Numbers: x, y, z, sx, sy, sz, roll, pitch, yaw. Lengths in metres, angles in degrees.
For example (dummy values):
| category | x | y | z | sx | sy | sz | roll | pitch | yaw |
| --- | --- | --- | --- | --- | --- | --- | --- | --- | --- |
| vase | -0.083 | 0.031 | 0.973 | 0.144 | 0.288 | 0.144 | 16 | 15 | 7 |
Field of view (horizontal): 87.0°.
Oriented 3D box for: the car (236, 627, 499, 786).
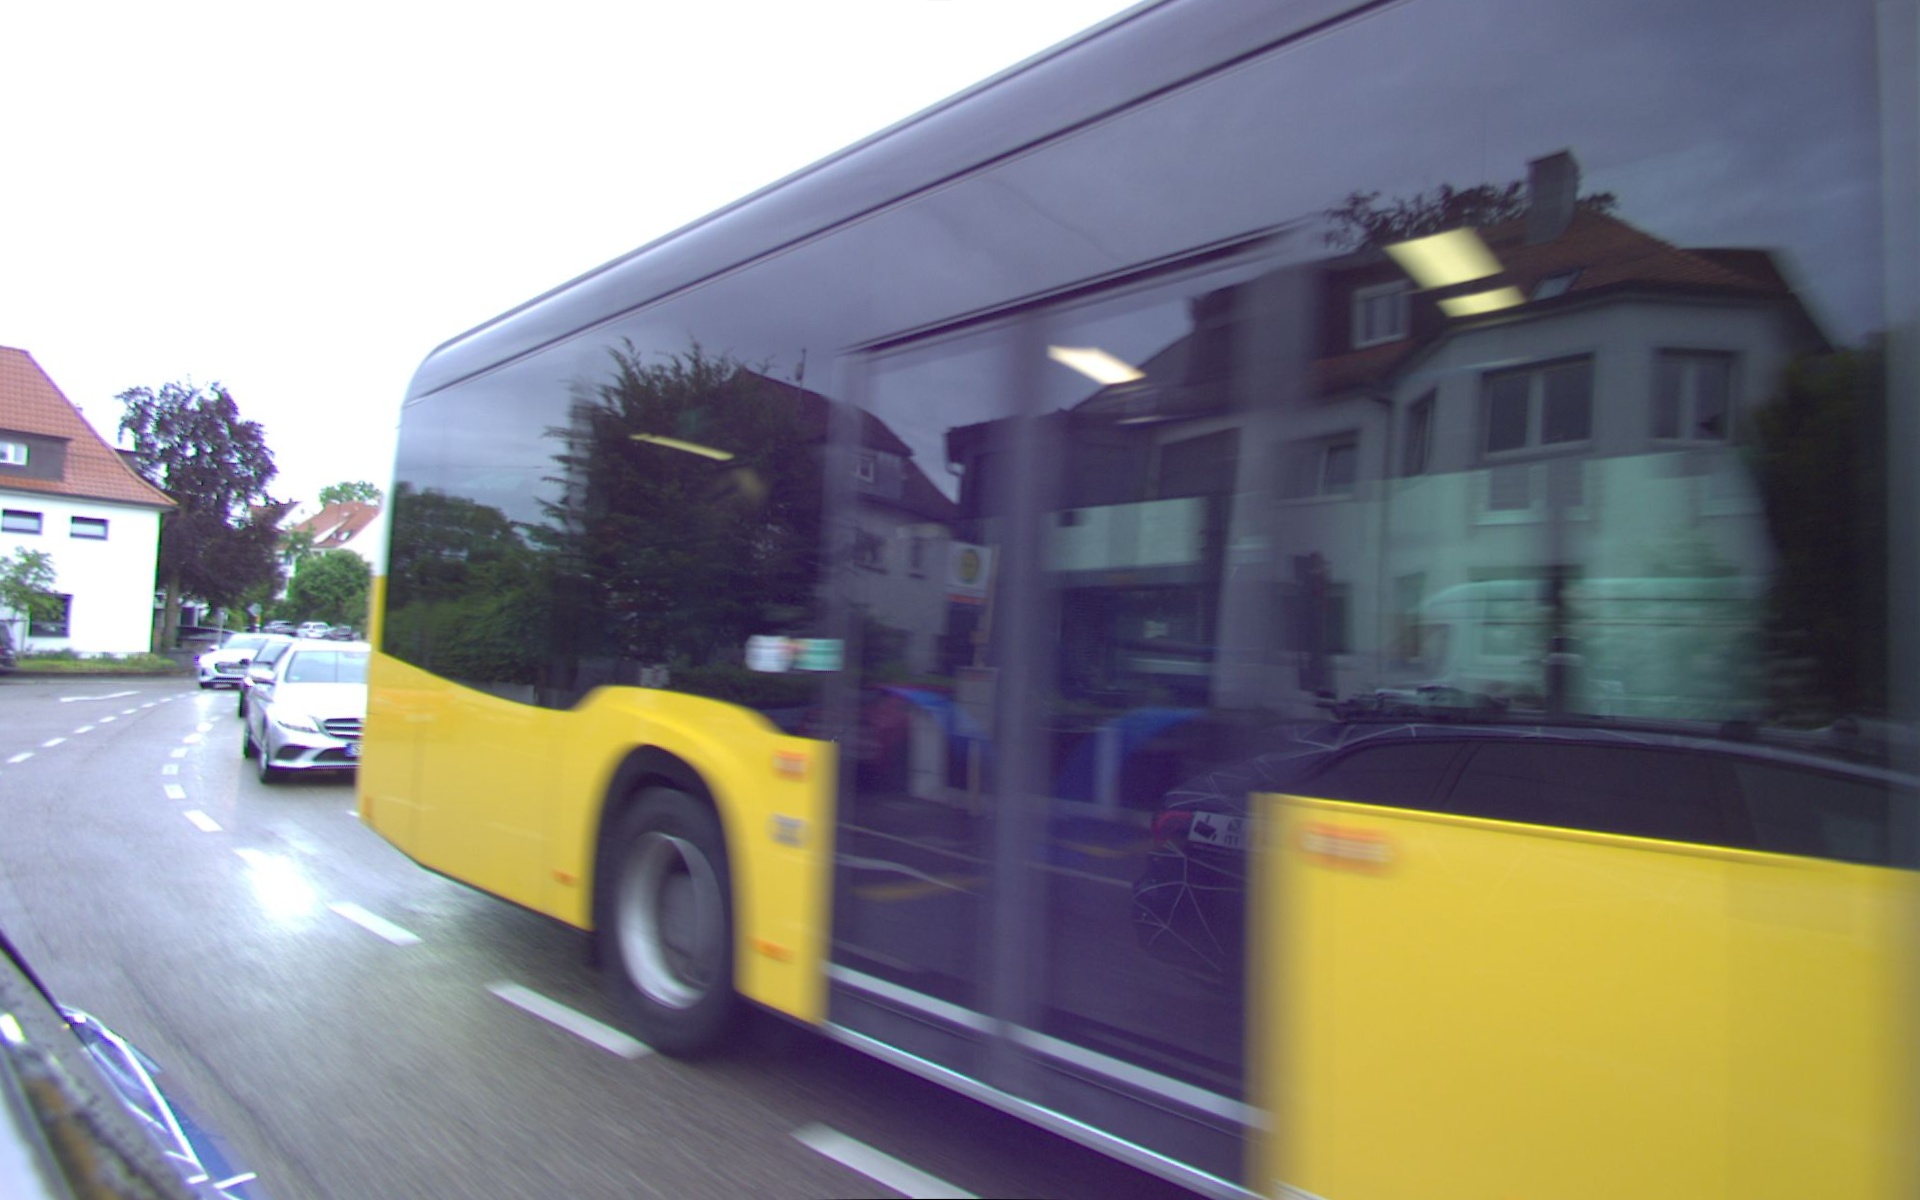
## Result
| category | x | y | z | sx | sy | sz | roll | pitch | yaw |
| --- | --- | --- | --- | --- | --- | --- | --- | --- | --- |
| car | -7.122 | 1.175 | 11.925 | 1.968 | 1.491 | 4.494 | 5 | -6 | -38 |

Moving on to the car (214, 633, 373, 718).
| category | x | y | z | sx | sy | sz | roll | pitch | yaw |
| --- | --- | --- | --- | --- | --- | --- | --- | --- | --- |
| car | -12.810 | 1.409 | 19.687 | 1.867 | 1.475 | 3.693 | 2 | -3 | -23 |

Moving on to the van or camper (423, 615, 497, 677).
| category | x | y | z | sx | sy | sz | roll | pitch | yaw |
| --- | --- | --- | --- | --- | --- | --- | --- | --- | --- |
| van or camper | -24.154 | 2.177 | 48.772 | 2.316 | 2.746 | 6.133 | 4 | -4 | -33 |

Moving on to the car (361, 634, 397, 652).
| category | x | y | z | sx | sy | sz | roll | pitch | yaw |
| --- | --- | --- | --- | --- | --- | --- | --- | --- | --- |
| car | -45.374 | 3.343 | 79.034 | 1.655 | 1.383 | 3.443 | 3 | -4 | -44 |

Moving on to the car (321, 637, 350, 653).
| category | x | y | z | sx | sy | sz | roll | pitch | yaw |
| --- | --- | --- | --- | --- | --- | --- | --- | --- | --- |
| car | -55.172 | 3.970 | 89.356 | 1.654 | 1.383 | 3.446 | 3 | -3 | -40 |

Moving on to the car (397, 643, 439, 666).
| category | x | y | z | sx | sy | sz | roll | pitch | yaw |
| --- | --- | --- | --- | --- | --- | --- | --- | --- | --- |
| car | -35.455 | 3.535 | 66.137 | 1.653 | 1.383 | 4.521 | 3 | -2 | -37 |

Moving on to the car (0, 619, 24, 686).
| category | x | y | z | sx | sy | sz | roll | pitch | yaw |
| --- | --- | --- | --- | --- | --- | --- | --- | --- | --- |
| car | -30.881 | 1.434 | 29.514 | 4.839 | 1.962 | 1.946 | 4 | -4 | -31 |

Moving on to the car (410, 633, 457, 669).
| category | x | y | z | sx | sy | sz | roll | pitch | yaw |
| --- | --- | --- | --- | --- | --- | --- | --- | --- | --- |
| car | -31.478 | 3.023 | 60.440 | 1.807 | 2.003 | 4.592 | 3 | -3 | -36 |

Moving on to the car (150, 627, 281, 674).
| category | x | y | z | sx | sy | sz | roll | pitch | yaw |
| --- | --- | --- | --- | --- | --- | --- | --- | --- | --- |
| car | -35.152 | 2.411 | 47.958 | 4.666 | 1.823 | 1.947 | 8 | -6 | -32 |

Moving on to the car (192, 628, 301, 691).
| category | x | y | z | sx | sy | sz | roll | pitch | yaw |
| --- | --- | --- | --- | --- | --- | --- | --- | --- | --- |
| car | -20.809 | 1.721 | 29.673 | 1.765 | 1.712 | 3.903 | 2 | -3 | -23 |

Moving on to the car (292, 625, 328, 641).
| category | x | y | z | sx | sy | sz | roll | pitch | yaw |
| --- | --- | --- | --- | --- | --- | --- | --- | --- | --- |
| car | -61.686 | 3.148 | 95.978 | 4.435 | 1.383 | 1.657 | -1 | -7 | 42 |

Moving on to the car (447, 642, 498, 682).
| category | x | y | z | sx | sy | sz | roll | pitch | yaw |
| --- | --- | --- | --- | --- | --- | --- | --- | --- | --- |
| car | -21.261 | 2.689 | 44.096 | 1.573 | 1.607 | 3.327 | 4 | -4 | -32 |

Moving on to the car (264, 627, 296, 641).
| category | x | y | z | sx | sy | sz | roll | pitch | yaw |
| --- | --- | --- | --- | --- | --- | --- | --- | --- | --- |
| car | -69.184 | 3.500 | 102.982 | 4.435 | 1.383 | 1.657 | -1 | -3 | 42 |

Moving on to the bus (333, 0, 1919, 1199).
| category | x | y | z | sx | sy | sz | roll | pitch | yaw |
| --- | --- | --- | --- | --- | --- | --- | --- | --- | --- |
| bus | 0.605 | -0.130 | 3.903 | 8.678 | 3.424 | 2.648 | -2 | -6 | 42 |
